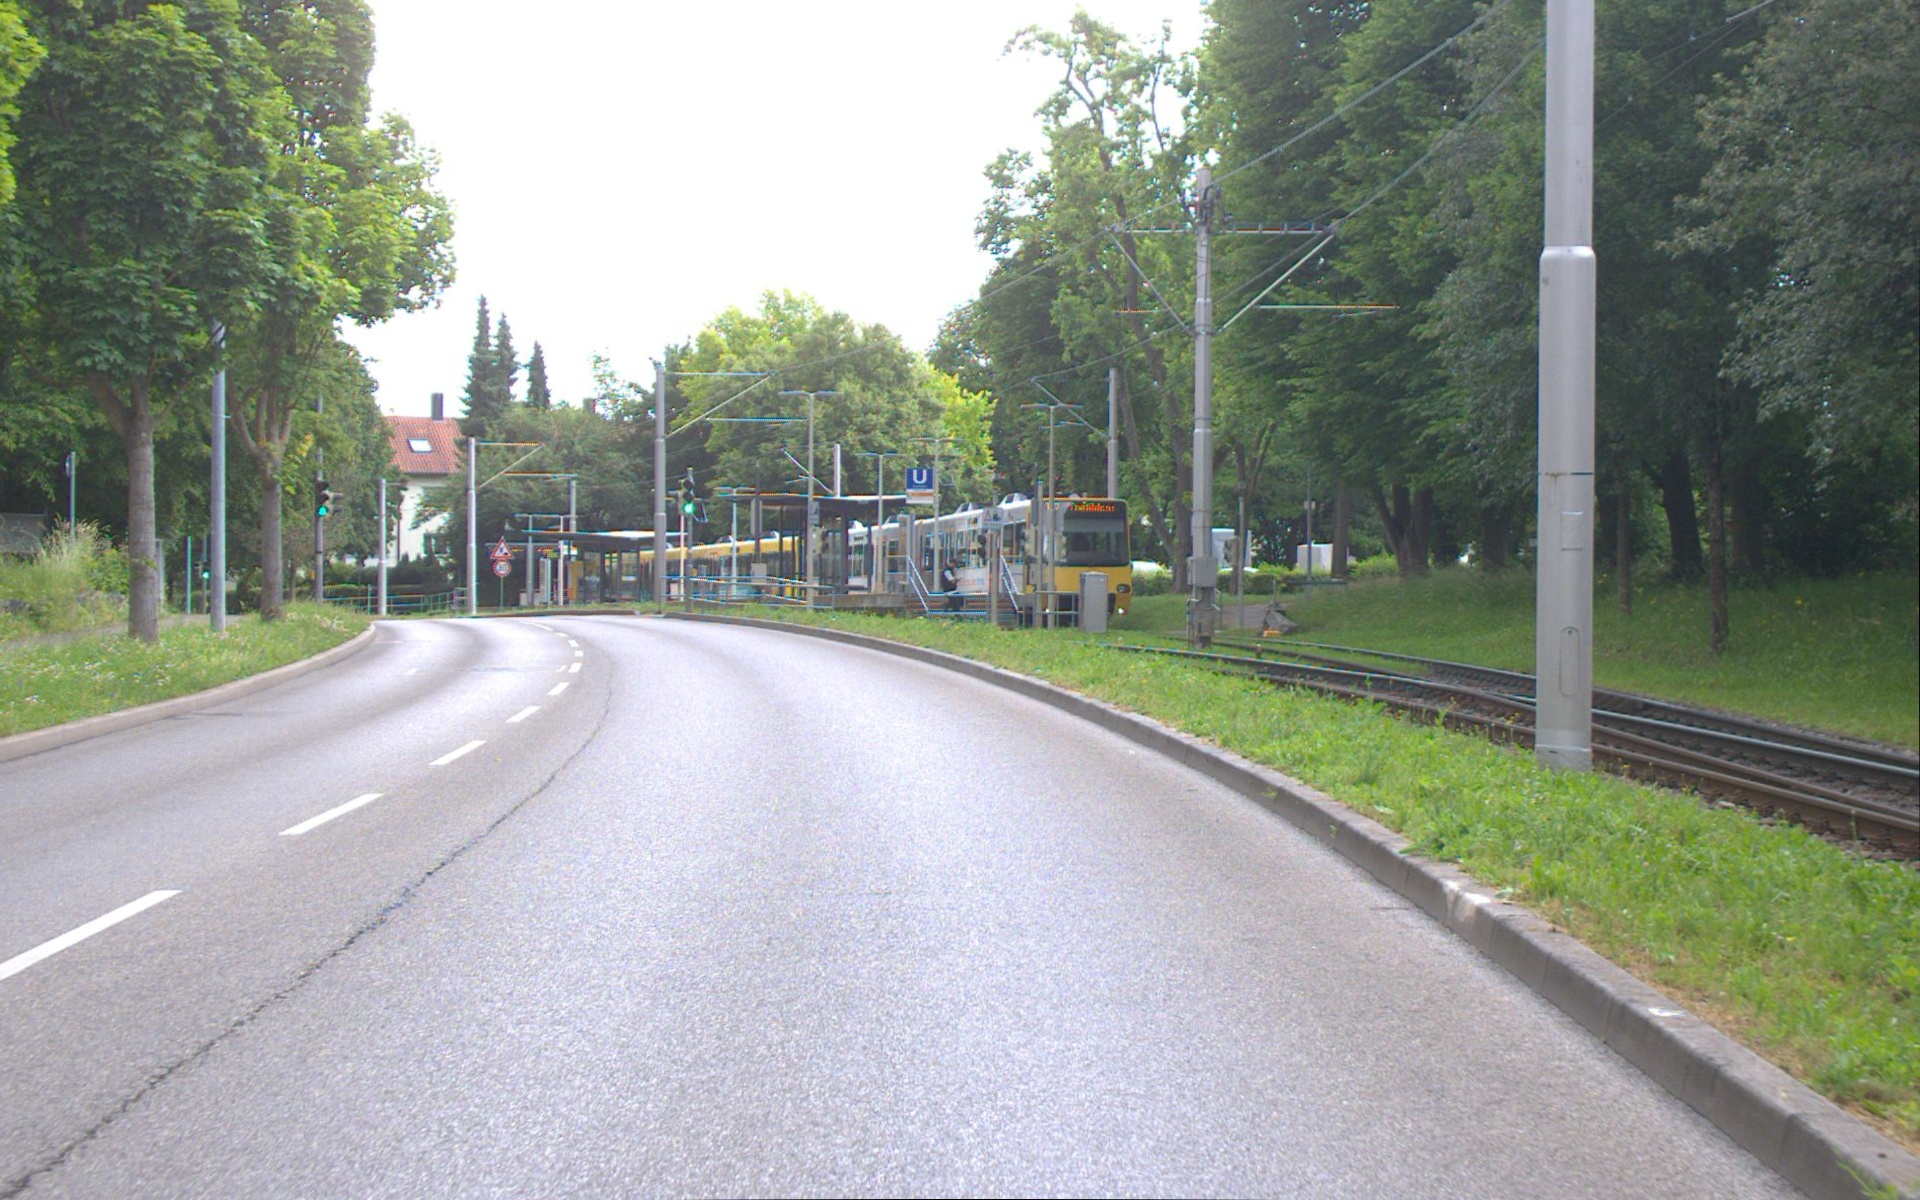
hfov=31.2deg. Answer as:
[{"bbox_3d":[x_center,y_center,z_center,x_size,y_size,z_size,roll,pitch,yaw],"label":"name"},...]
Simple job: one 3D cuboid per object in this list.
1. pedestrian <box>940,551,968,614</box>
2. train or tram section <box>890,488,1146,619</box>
[{"bbox_3d":[-0.152,-0.416,81.522,0.567,1.459,0.595,1,1,-8],"label":"pedestrian"},{"bbox_3d":[1.140,-1.518,105.366,3.007,3.299,34.719,1,1,-7],"label":"train or tram section"}]
